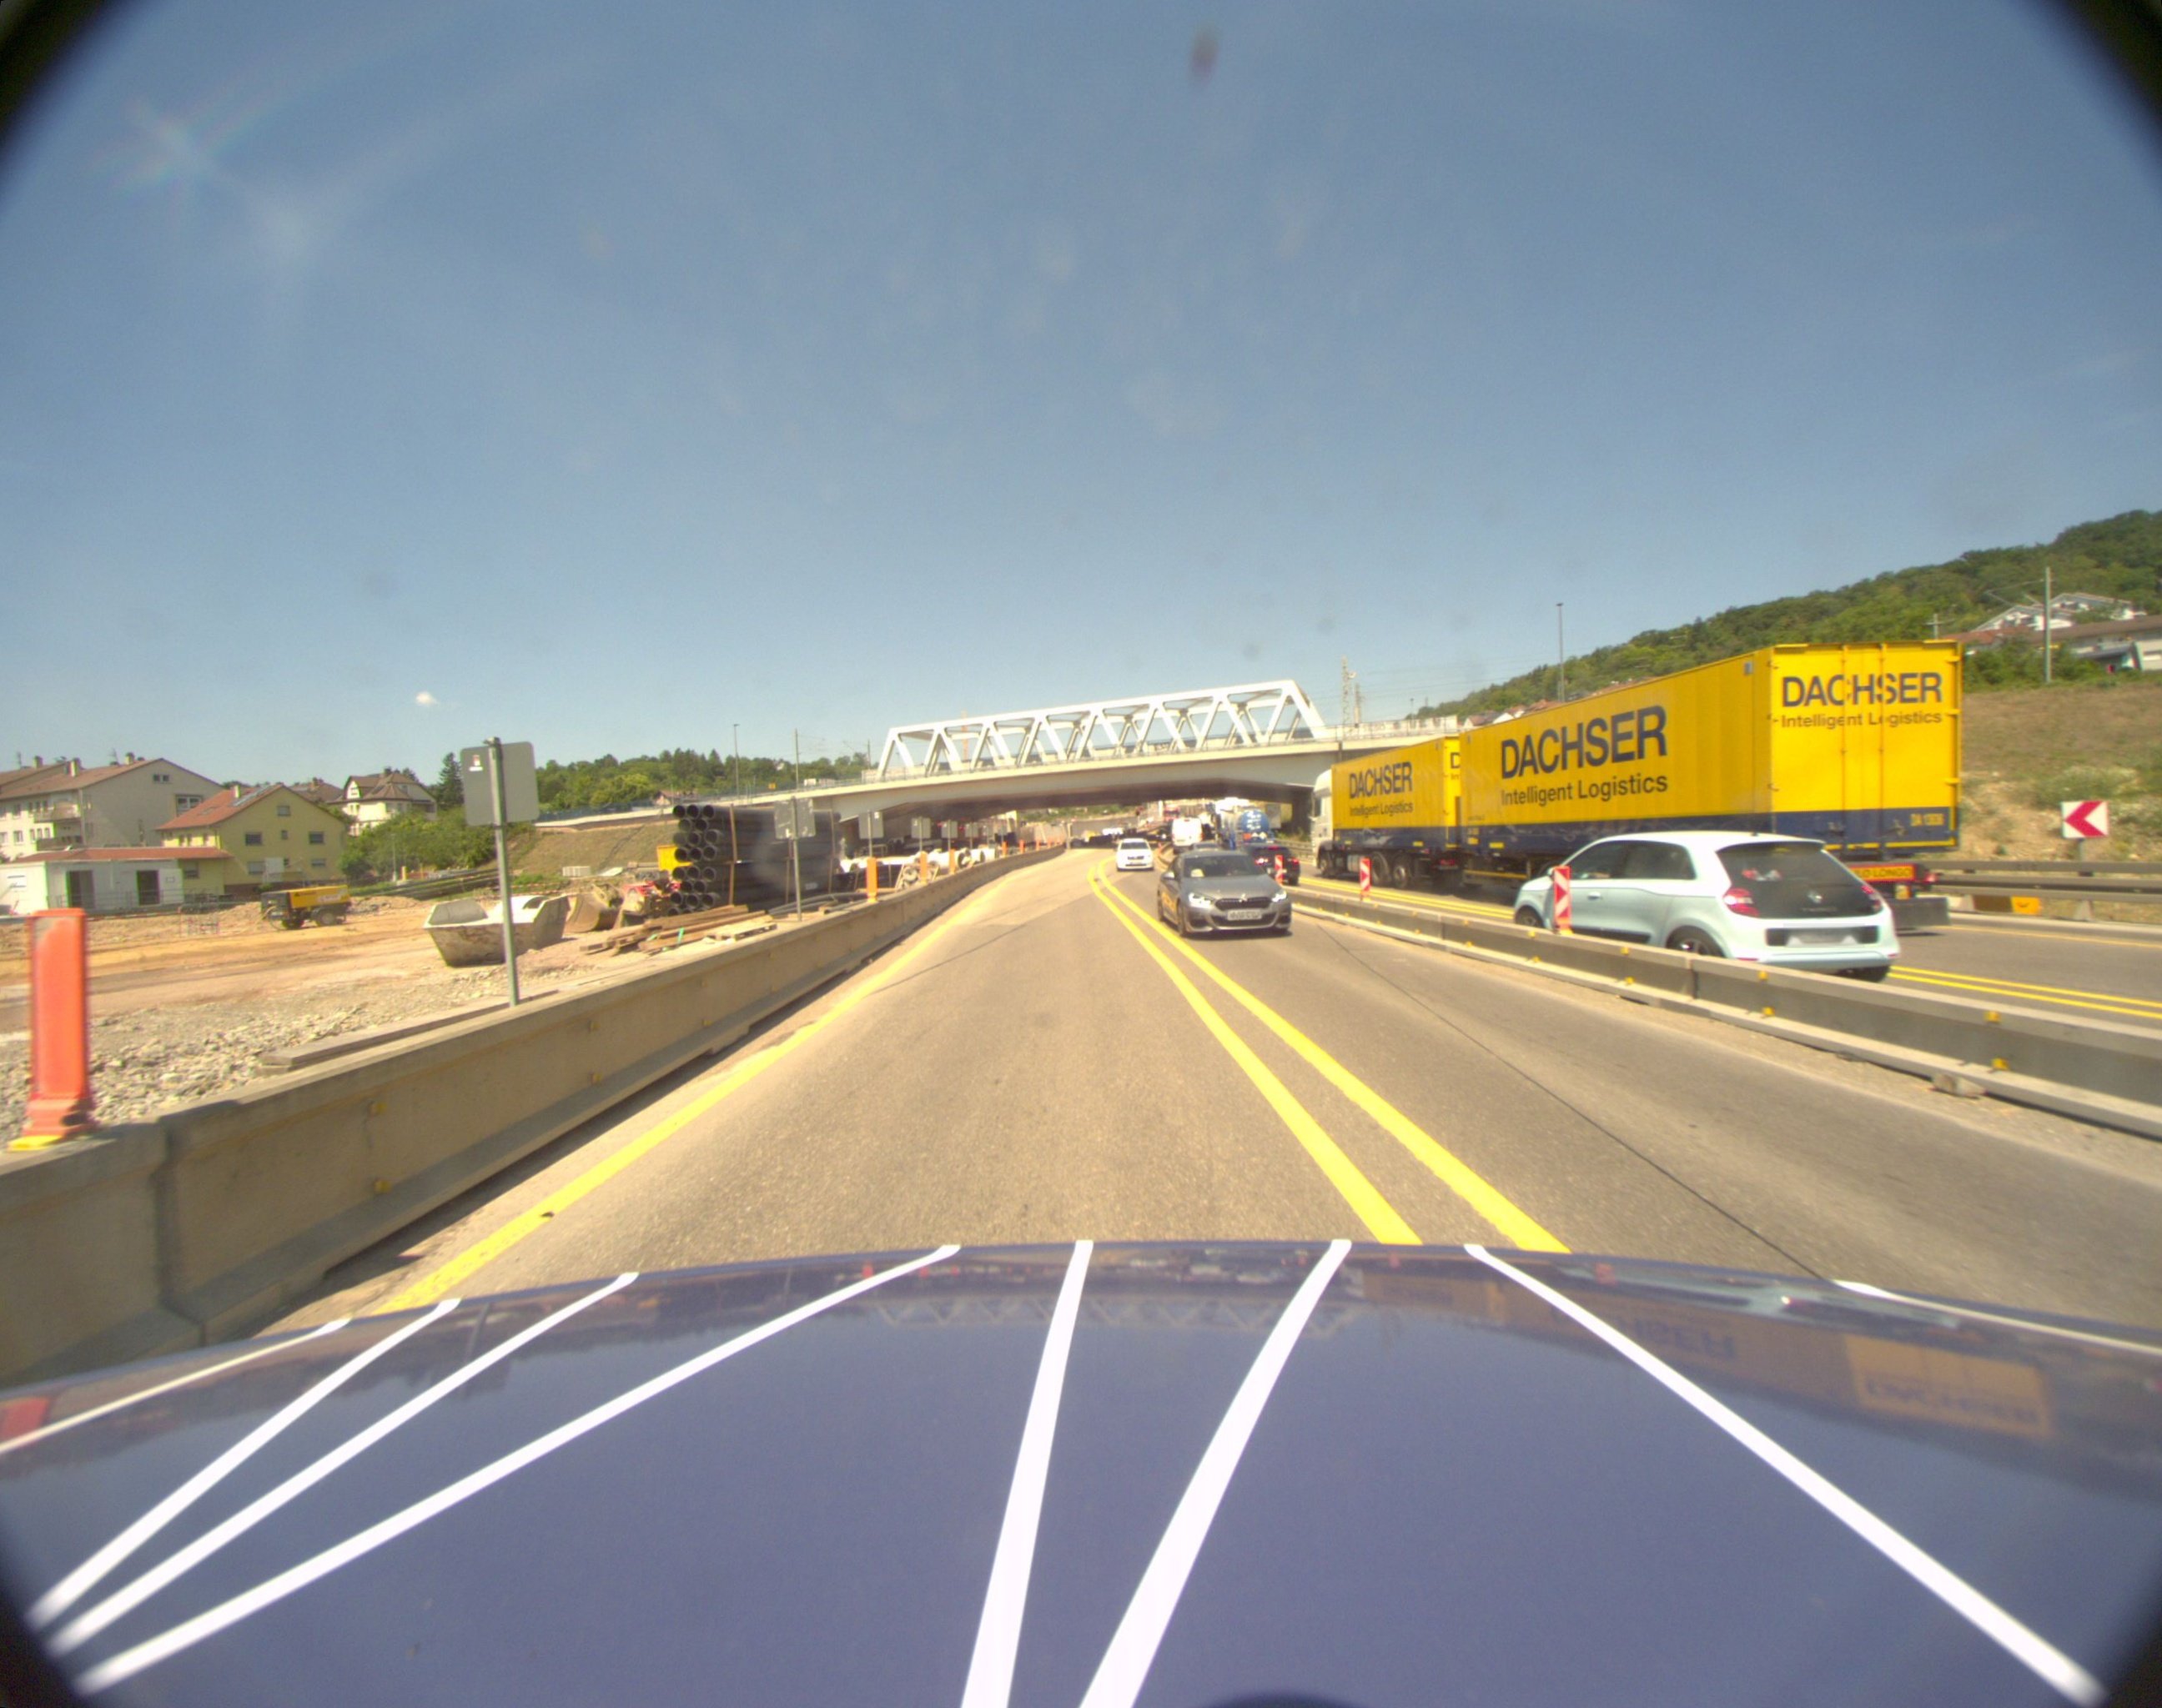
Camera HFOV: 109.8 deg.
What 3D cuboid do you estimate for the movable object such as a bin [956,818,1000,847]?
[{"bbox_3d":[-13.289,-2.784,98.472,4.560,3.270,2.991,-3,5,16],"label":"movable object such as a bin"}]

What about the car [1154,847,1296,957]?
[{"bbox_3d":[2.423,0.724,13.849,1.838,1.588,4.389,-2,1,2],"label":"car"}]

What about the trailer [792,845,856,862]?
[{"bbox_3d":[-21.772,-0.041,64.451,4.721,1.213,2.056,-1,5,12],"label":"trailer"}]

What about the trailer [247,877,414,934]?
[{"bbox_3d":[-25.912,1.718,26.438,1.626,1.478,3.826,-3,3,8],"label":"trailer"}]

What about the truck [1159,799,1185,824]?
[{"bbox_3d":[16.095,-7.528,133.840,3.460,4.026,10.211,-1,5,12],"label":"truck"}]

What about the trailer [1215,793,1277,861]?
[{"bbox_3d":[10.332,-1.779,48.518,2.531,3.769,10.244,-3,3,6],"label":"trailer"}]

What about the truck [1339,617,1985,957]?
[{"bbox_3d":[10.229,-1.055,17.589,2.814,4.318,15.367,-2,2,-1],"label":"truck"}]

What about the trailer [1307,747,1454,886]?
[{"bbox_3d":[10.035,-1.223,26.045,2.873,4.206,5.216,-2,2,-1],"label":"trailer"}]

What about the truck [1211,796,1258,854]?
[{"bbox_3d":[10.859,-2.069,54.119,2.539,3.801,4.949,-3,3,5],"label":"truck"}]

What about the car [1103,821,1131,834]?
[{"bbox_3d":[8.494,-6.176,178.920,6.303,2.567,2.054,-5,3,-1],"label":"car"}]

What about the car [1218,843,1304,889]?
[{"bbox_3d":[6.036,0.336,25.977,1.681,1.354,4.501,-2,1,-2],"label":"car"}]

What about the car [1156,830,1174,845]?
[{"bbox_3d":[9.134,-1.807,82.758,1.800,1.543,4.000,-2,3,6],"label":"car"}]

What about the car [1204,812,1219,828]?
[{"bbox_3d":[20.408,-5.405,118.973,1.984,2.318,6.060,-1,4,12],"label":"car"}]

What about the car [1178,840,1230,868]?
[{"bbox_3d":[6.062,-0.036,37.859,1.681,1.257,4.334,-2,1,-2],"label":"car"}]

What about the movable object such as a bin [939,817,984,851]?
[{"bbox_3d":[-13.638,-2.321,86.949,3.885,3.524,2.905,-2,5,23],"label":"movable object such as a bin"}]

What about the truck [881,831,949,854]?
[{"bbox_3d":[-18.090,-1.294,82.860,6.530,2.062,2.667,-2,3,15],"label":"truck"}]

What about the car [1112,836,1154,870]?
[{"bbox_3d":[2.611,-0.115,37.105,1.837,1.465,4.390,-2,2,6],"label":"car"}]

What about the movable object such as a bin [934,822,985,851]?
[{"bbox_3d":[-14.612,-2.067,91.362,5.247,3.041,2.497,-3,5,16],"label":"movable object such as a bin"}]

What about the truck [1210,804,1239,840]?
[{"bbox_3d":[15.337,-3.488,81.238,2.822,3.556,8.500,-2,3,11],"label":"truck"}]

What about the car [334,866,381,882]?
[{"bbox_3d":[-77.815,2.140,81.737,4.159,1.500,1.579,-1,5,15],"label":"car"}]

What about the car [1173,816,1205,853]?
[{"bbox_3d":[7.851,-1.512,55.936,2.075,2.490,6.483,-2,3,6],"label":"car"}]

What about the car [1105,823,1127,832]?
[{"bbox_3d":[7.951,-5.949,172.312,4.799,1.760,1.720,-3,3,6],"label":"car"}]

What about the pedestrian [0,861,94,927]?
[{"bbox_3d":[-36.930,1.434,25.485,1.997,2.003,4.000,-1,5,11],"label":"pedestrian"}]

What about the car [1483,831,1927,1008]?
[{"bbox_3d":[6.471,0.567,8.578,1.641,1.477,3.999,-2,0,-1],"label":"car"}]
